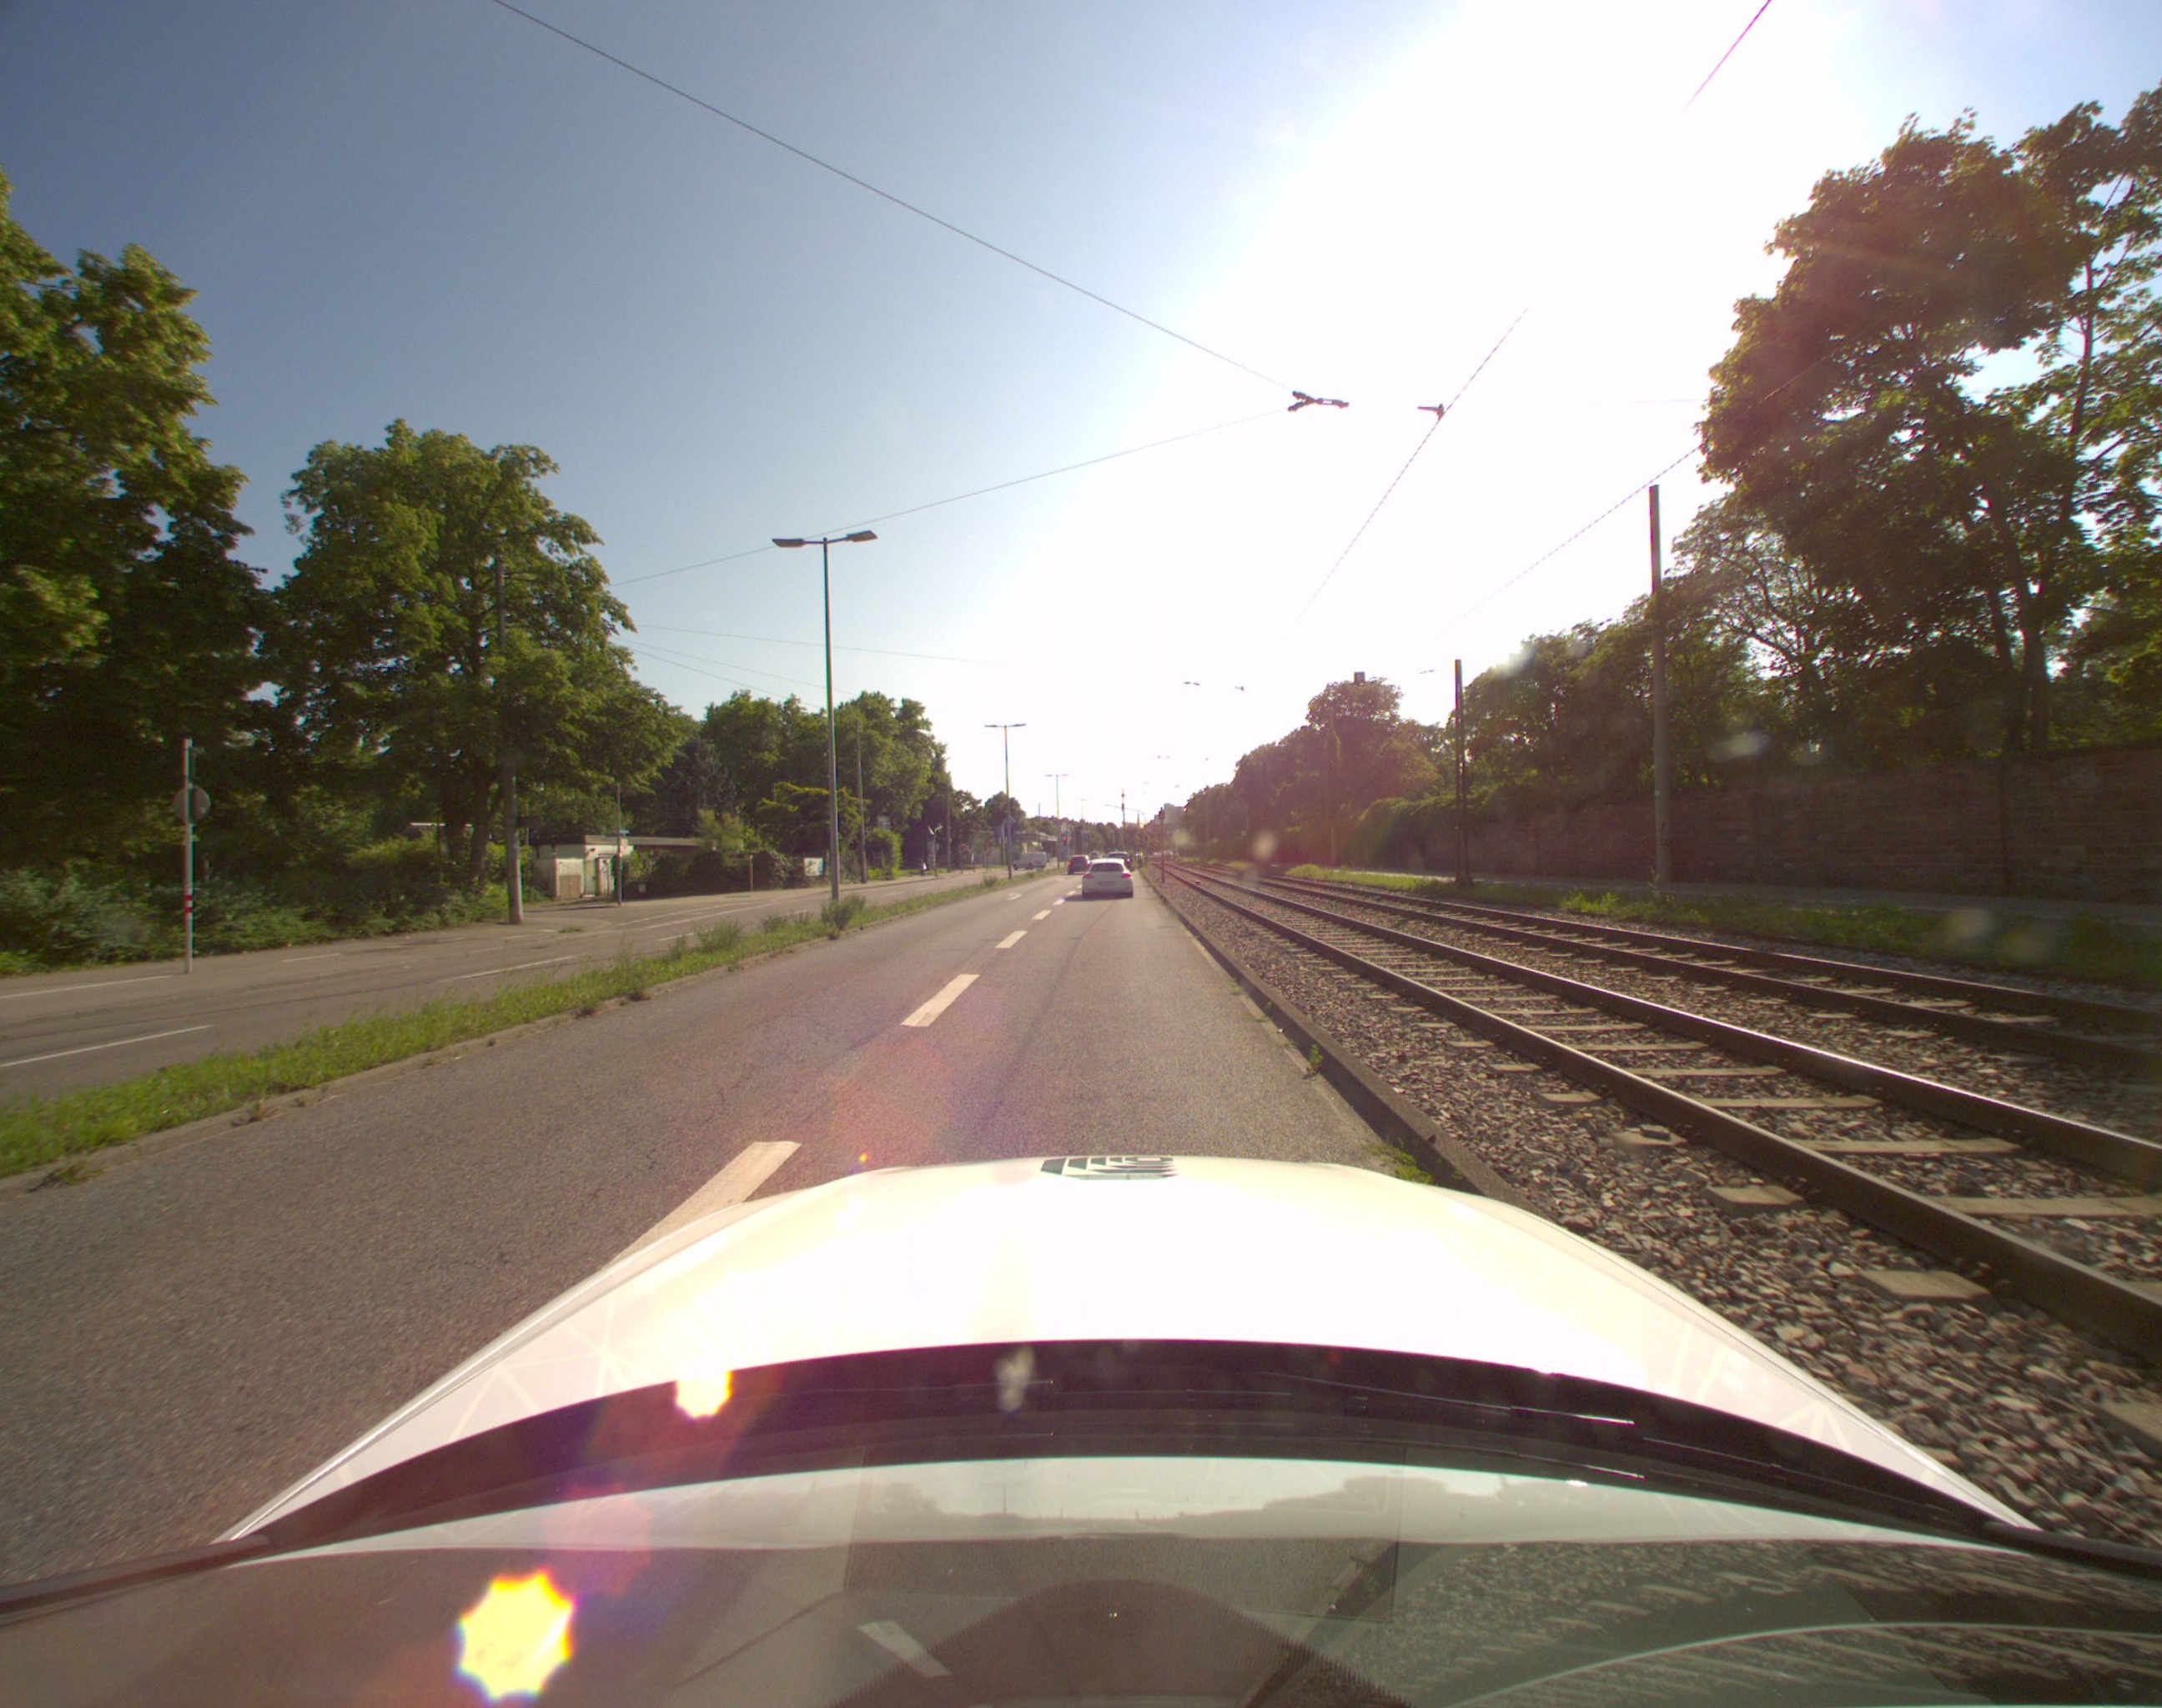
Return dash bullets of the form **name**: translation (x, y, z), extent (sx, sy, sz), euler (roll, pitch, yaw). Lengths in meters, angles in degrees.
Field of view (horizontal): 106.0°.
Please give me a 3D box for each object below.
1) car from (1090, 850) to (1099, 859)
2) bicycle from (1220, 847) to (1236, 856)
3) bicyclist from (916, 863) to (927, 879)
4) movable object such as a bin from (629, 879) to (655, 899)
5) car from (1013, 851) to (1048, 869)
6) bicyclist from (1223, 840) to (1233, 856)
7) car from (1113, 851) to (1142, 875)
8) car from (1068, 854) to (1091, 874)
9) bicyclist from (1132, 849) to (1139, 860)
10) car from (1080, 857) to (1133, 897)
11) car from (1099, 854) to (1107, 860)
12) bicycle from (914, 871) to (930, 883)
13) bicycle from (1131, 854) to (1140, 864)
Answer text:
- **car**: translation (3.828, 0.063, 237.265), extent (1.983, 2.376, 4.548), euler (-2, 0, 7)
- **bicycle**: translation (19.025, -0.342, 105.395), extent (1.903, 1.115, 0.953), euler (-2, 0, 28)
- **bicyclist**: translation (-15.236, 1.631, 77.822), extent (0.658, 1.452, 1.053), euler (-2, 0, 7)
- **movable object such as a bin**: translation (-22.060, 1.744, 40.952), extent (0.813, 0.931, 0.854), euler (-2, 0, 2)
- **car**: translation (-6.026, 0.699, 96.728), extent (1.834, 1.963, 4.349), euler (-1, -1, -42)
- **bicyclist**: translation (19.013, -0.747, 105.390), extent (1.023, 1.993, 0.953), euler (-2, 0, 28)
- **car**: translation (3.124, 0.579, 55.309), extent (1.718, 1.593, 3.600), euler (0, 0, 0)
- **car**: translation (-0.110, 0.776, 64.289), extent (1.754, 1.485, 4.644), euler (0, 0, 0)
- **bicyclist**: translation (7.112, 0.055, 106.970), extent (0.638, 1.416, 1.017), euler (-2, 0, 18)
- **car**: translation (0.969, 0.787, 29.579), extent (1.773, 1.356, 3.604), euler (0, 0, 3)
- **car**: translation (5.233, 0.656, 194.094), extent (1.645, 1.395, 4.138), euler (-2, 0, 4)
- **bicycle**: translation (-15.214, 2.149, 77.874), extent (0.658, 1.049, 2.585), euler (-2, 0, 7)
- **bicycle**: translation (7.141, 0.646, 106.997), extent (0.638, 1.154, 1.946), euler (-2, 0, 18)
